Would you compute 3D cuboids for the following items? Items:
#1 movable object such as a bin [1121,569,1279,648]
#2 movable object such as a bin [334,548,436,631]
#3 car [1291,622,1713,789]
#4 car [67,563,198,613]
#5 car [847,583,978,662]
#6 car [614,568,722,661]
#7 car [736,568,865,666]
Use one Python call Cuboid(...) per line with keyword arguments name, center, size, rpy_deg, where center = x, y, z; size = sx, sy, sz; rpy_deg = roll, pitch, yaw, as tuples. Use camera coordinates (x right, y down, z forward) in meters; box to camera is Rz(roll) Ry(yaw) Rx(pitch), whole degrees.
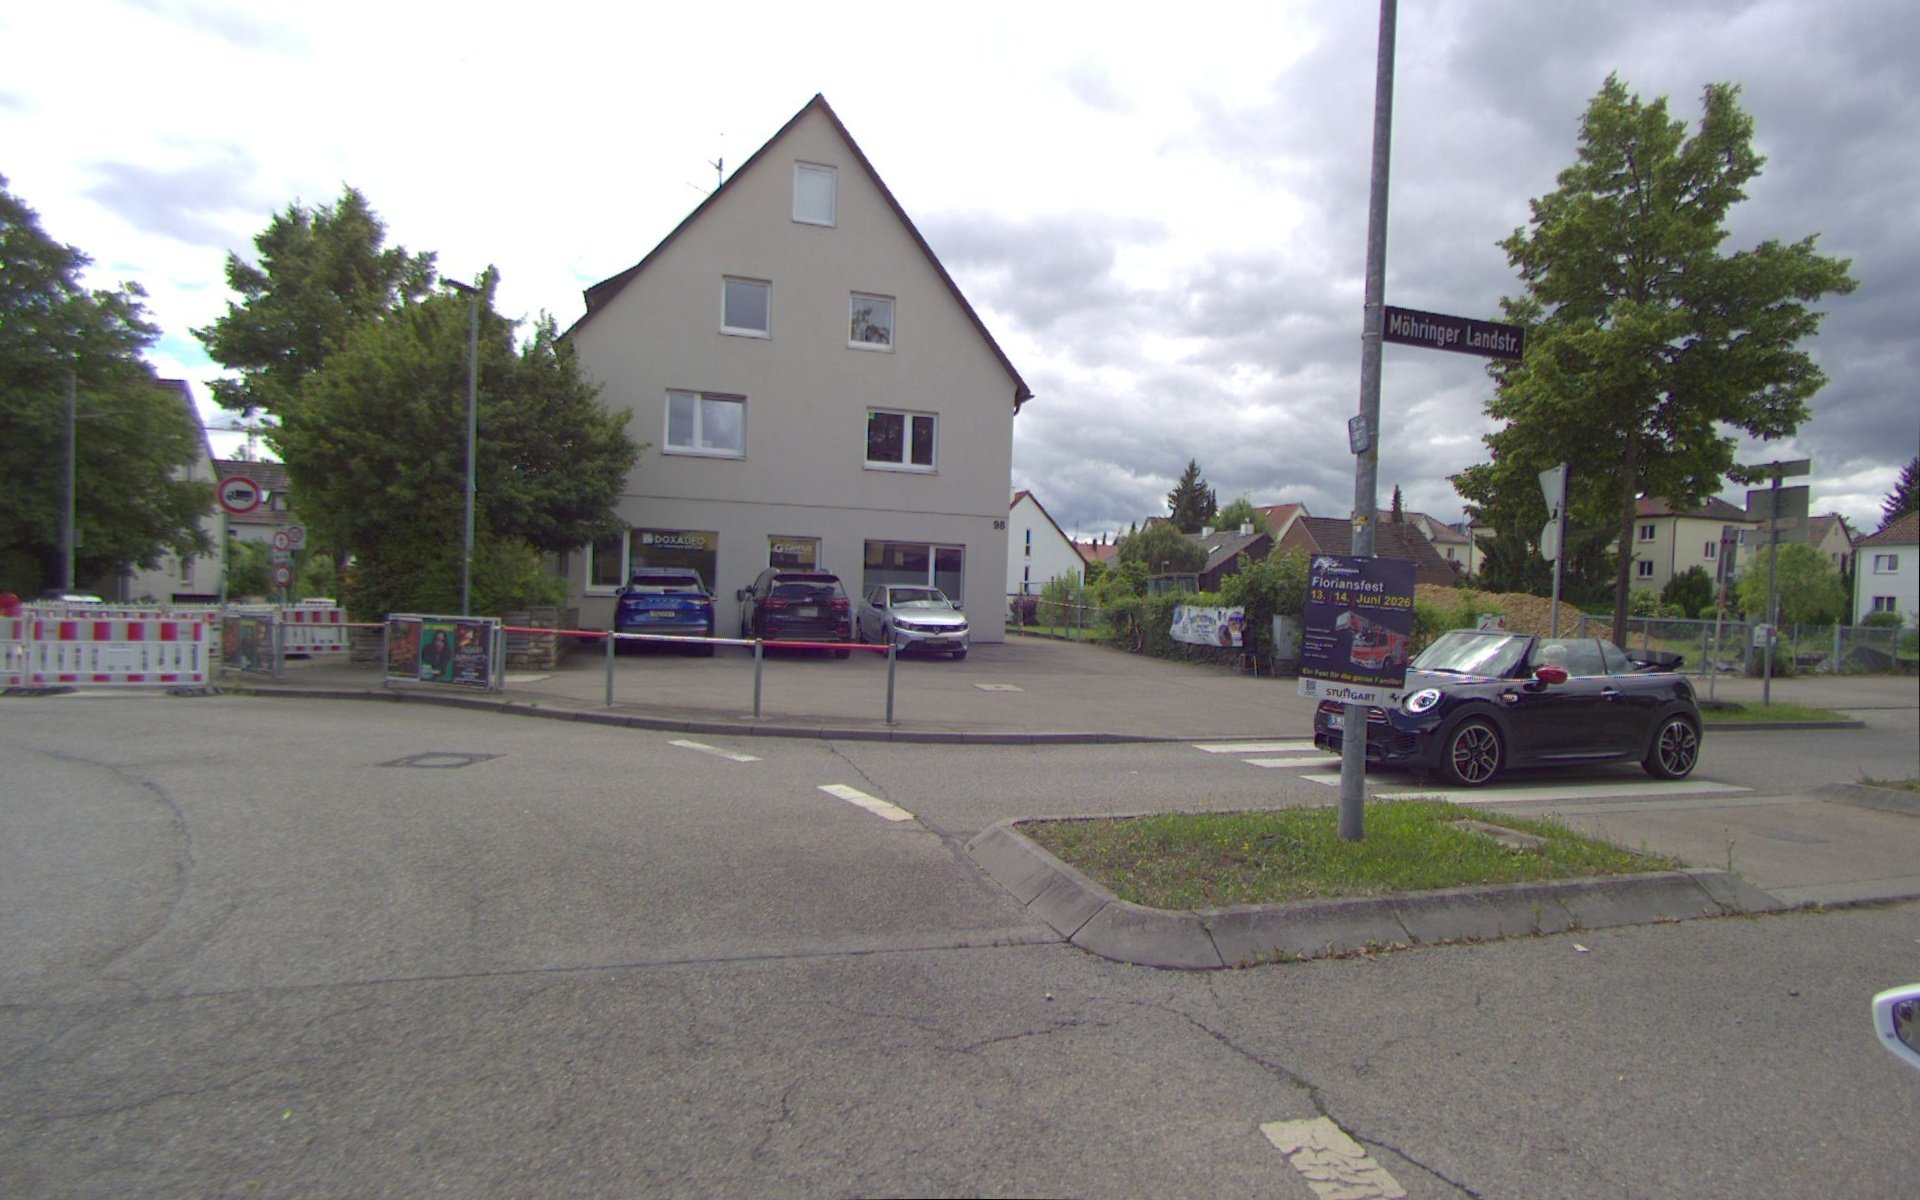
Cuboid(name="movable object such as a bin", center=(7.222, 0.267, 30.233), size=(4.299, 2.217, 1.892), rpy_deg=(1, 0, -22))
Cuboid(name="movable object such as a bin", center=(-21.615, -0.383, 37.953), size=(2.638, 2.954, 3.684), rpy_deg=(1, 0, -19))
Cuboid(name="car", center=(5.343, 0.968, 9.967), size=(3.684, 1.380, 1.572), rpy_deg=(1, 0, -18))
Cuboid(name="car", center=(-24.239, -0.358, 29.576), size=(1.673, 1.350, 3.601), rpy_deg=(1, 1, -17))
Cuboid(name="car", center=(-1.112, 0.421, 21.252), size=(1.720, 1.421, 3.913), rpy_deg=(1, 2, -19))
Cuboid(name="car", center=(-5.797, 0.218, 19.677), size=(1.791, 1.557, 3.913), rpy_deg=(2, 1, -19))
Cuboid(name="car", center=(-3.291, 0.256, 20.061), size=(1.827, 1.684, 3.913), rpy_deg=(3, 1, -19))
